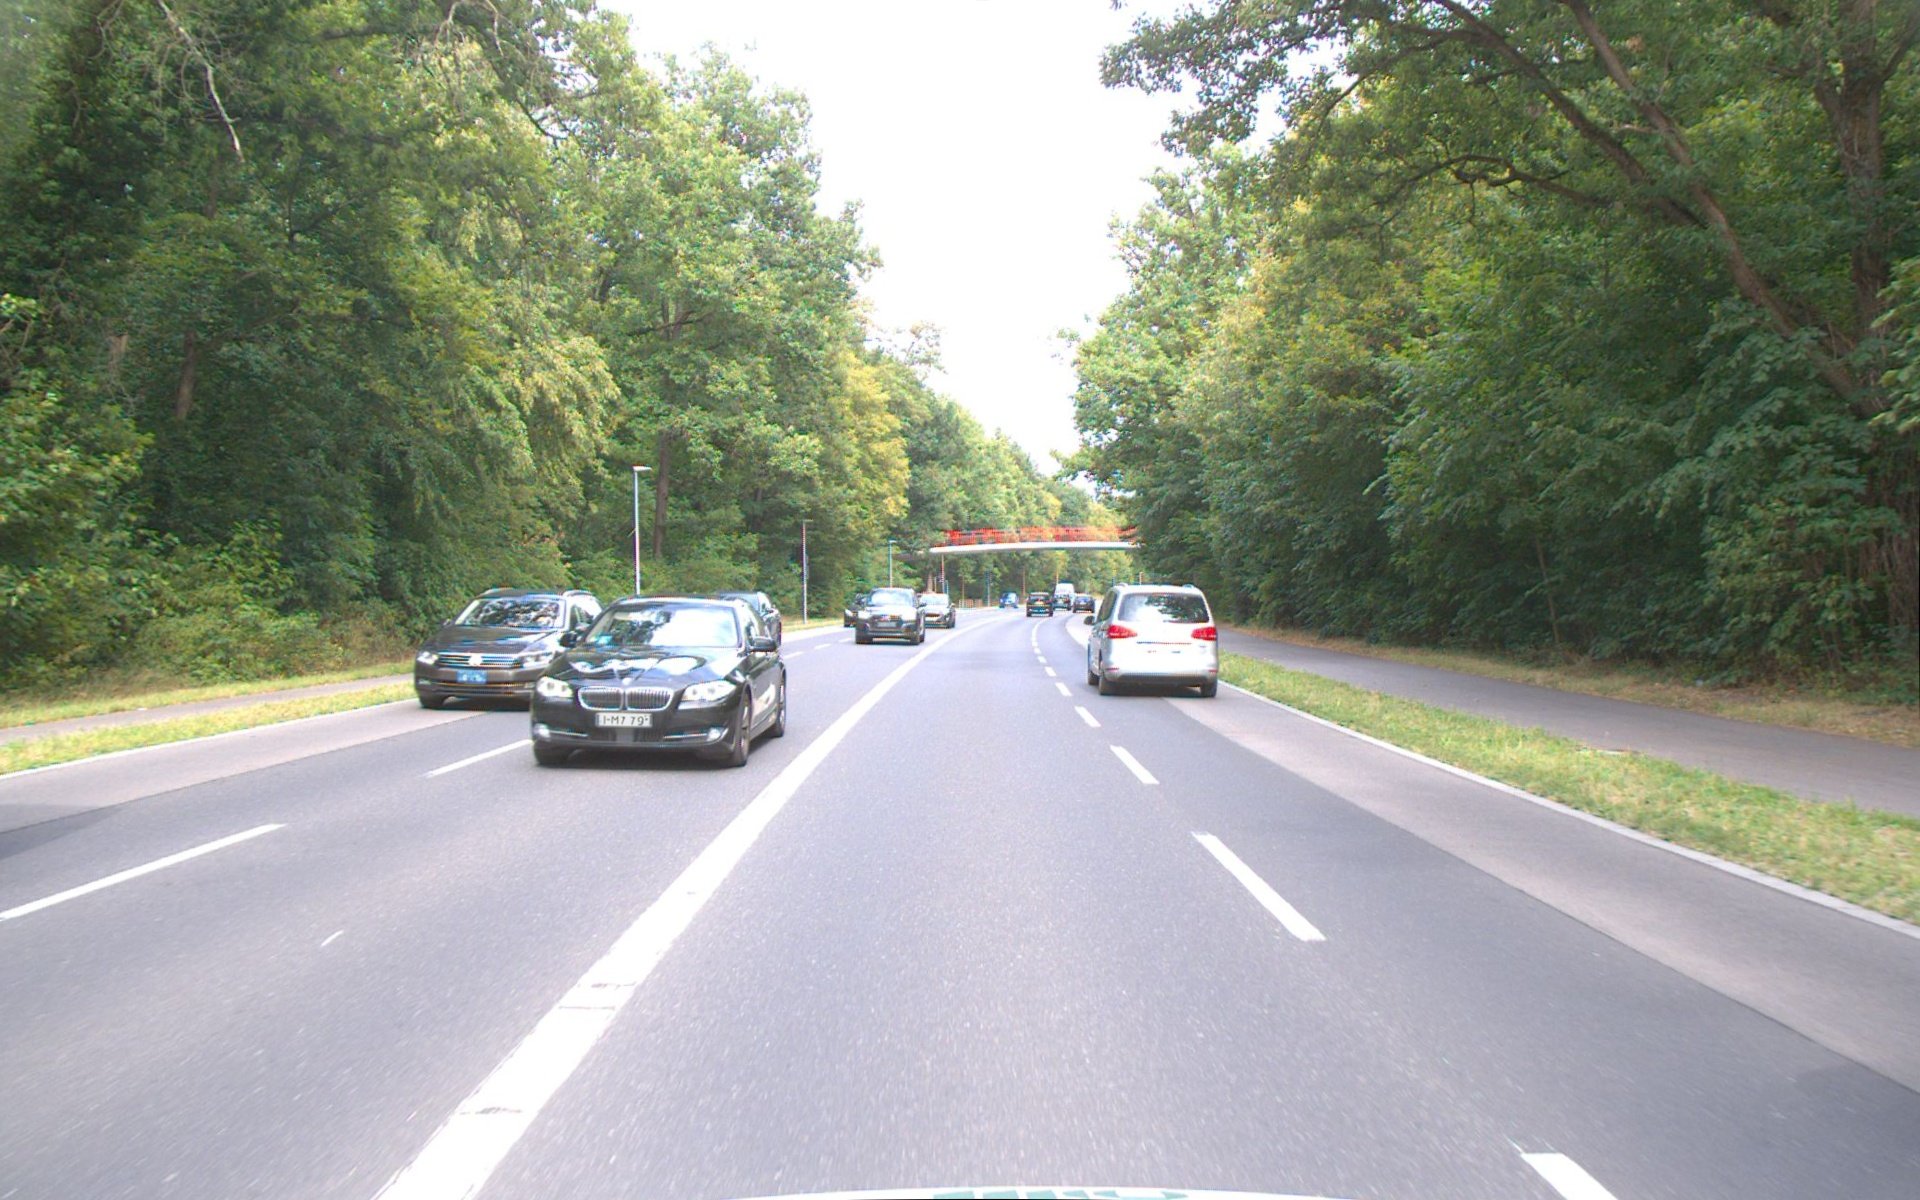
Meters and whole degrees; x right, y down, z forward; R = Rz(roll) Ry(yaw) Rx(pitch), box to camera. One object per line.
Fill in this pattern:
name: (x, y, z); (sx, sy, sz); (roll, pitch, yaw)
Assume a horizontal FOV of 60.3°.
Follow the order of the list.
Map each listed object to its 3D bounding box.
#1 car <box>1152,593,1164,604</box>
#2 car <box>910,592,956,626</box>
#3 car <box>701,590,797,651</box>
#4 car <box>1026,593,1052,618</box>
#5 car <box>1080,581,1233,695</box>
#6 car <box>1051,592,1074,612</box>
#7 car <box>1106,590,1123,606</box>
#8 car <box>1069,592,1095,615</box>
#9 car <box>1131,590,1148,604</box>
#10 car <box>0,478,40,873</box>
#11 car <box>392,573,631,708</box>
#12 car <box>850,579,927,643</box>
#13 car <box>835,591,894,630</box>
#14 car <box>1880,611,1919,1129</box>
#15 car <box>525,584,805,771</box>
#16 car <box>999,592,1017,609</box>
car: (31.294, -0.245, 260.990); (1.765, 1.697, 4.003); (2, -1, 9)
car: (-1.160, 0.392, 72.030); (1.662, 1.410, 3.828); (-2, 0, 4)
car: (-5.313, 0.483, 42.211); (1.777, 1.445, 4.519); (1, 0, 1)
car: (5.453, 0.375, 114.204); (1.693, 1.615, 4.002); (2, -1, 4)
car: (3.070, 0.590, 26.652); (1.953, 1.635, 4.000); (2, -1, 0)
car: (9.543, 0.182, 154.514); (1.951, 1.727, 4.002); (2, -1, 6)
car: (18.266, -0.214, 195.336); (1.766, 1.697, 4.001); (2, -1, 2)
car: (10.248, 0.284, 138.779); (1.951, 1.780, 4.002); (2, -1, 6)
car: (24.885, -0.420, 229.482); (1.951, 1.735, 4.004); (-3, 0, 10)
car: (-5.930, 0.373, 6.396); (1.953, 2.049, 5.053); (0, -1, -1)
car: (-5.795, 0.509, 21.969); (1.846, 1.585, 4.519); (1, -1, 1)
car: (-2.058, 0.324, 48.947); (1.922, 1.735, 4.001); (-2, 0, 2)
car: (-4.124, 0.459, 72.190); (1.951, 1.579, 4.002); (2, -1, 5)
car: (3.528, 0.762, 2.840); (1.602, 1.445, 3.999); (2, -1, -1)
car: (-2.627, 0.660, 15.824); (1.847, 1.504, 4.518); (1, -1, 0)
car: (4.789, 0.044, 165.120); (1.704, 1.624, 4.001); (2, -1, 3)
